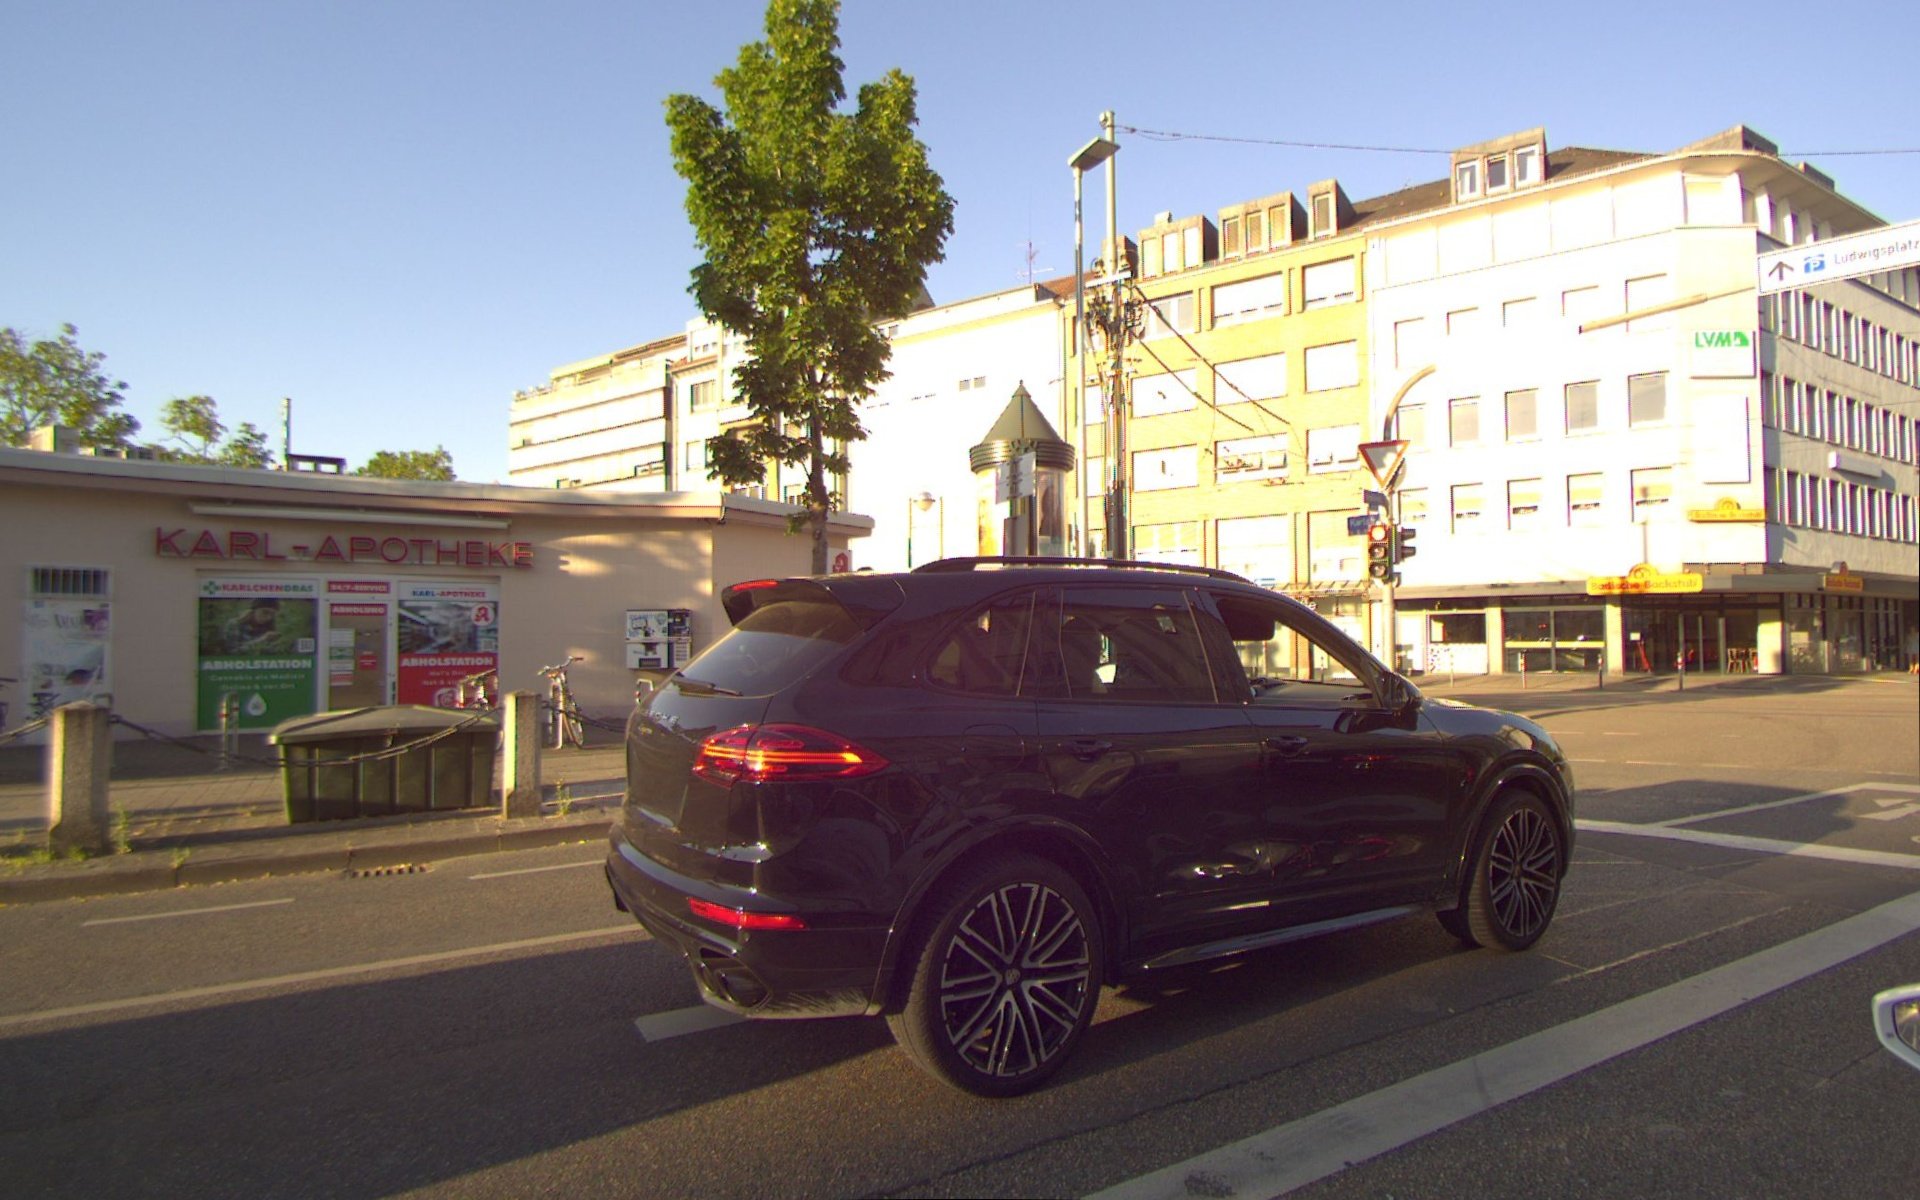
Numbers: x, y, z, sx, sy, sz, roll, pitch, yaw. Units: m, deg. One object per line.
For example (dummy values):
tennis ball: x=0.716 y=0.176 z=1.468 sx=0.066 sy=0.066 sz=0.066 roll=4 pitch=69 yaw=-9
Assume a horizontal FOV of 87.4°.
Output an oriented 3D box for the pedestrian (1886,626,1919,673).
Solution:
pedestrian: x=35.085 y=1.822 z=37.256 sx=0.862 sy=1.698 sz=0.819 roll=1 pitch=-3 yaw=-32

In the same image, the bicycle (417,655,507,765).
bicycle: x=-6.445 y=1.353 z=12.944 sx=0.938 sy=1.273 sz=1.997 roll=1 pitch=-3 yaw=-29

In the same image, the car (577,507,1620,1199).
car: x=0.811 y=0.705 z=4.568 sx=4.511 sy=1.736 sz=1.939 roll=1 pitch=-3 yaw=-32

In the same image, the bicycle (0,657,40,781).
bicycle: x=-10.332 y=1.244 z=10.494 sx=0.625 sy=1.273 sz=1.846 roll=1 pitch=-3 yaw=-29

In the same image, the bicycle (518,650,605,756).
bicycle: x=-5.391 y=1.319 z=13.485 sx=0.778 sy=1.273 sz=2.433 roll=1 pitch=-3 yaw=-29
